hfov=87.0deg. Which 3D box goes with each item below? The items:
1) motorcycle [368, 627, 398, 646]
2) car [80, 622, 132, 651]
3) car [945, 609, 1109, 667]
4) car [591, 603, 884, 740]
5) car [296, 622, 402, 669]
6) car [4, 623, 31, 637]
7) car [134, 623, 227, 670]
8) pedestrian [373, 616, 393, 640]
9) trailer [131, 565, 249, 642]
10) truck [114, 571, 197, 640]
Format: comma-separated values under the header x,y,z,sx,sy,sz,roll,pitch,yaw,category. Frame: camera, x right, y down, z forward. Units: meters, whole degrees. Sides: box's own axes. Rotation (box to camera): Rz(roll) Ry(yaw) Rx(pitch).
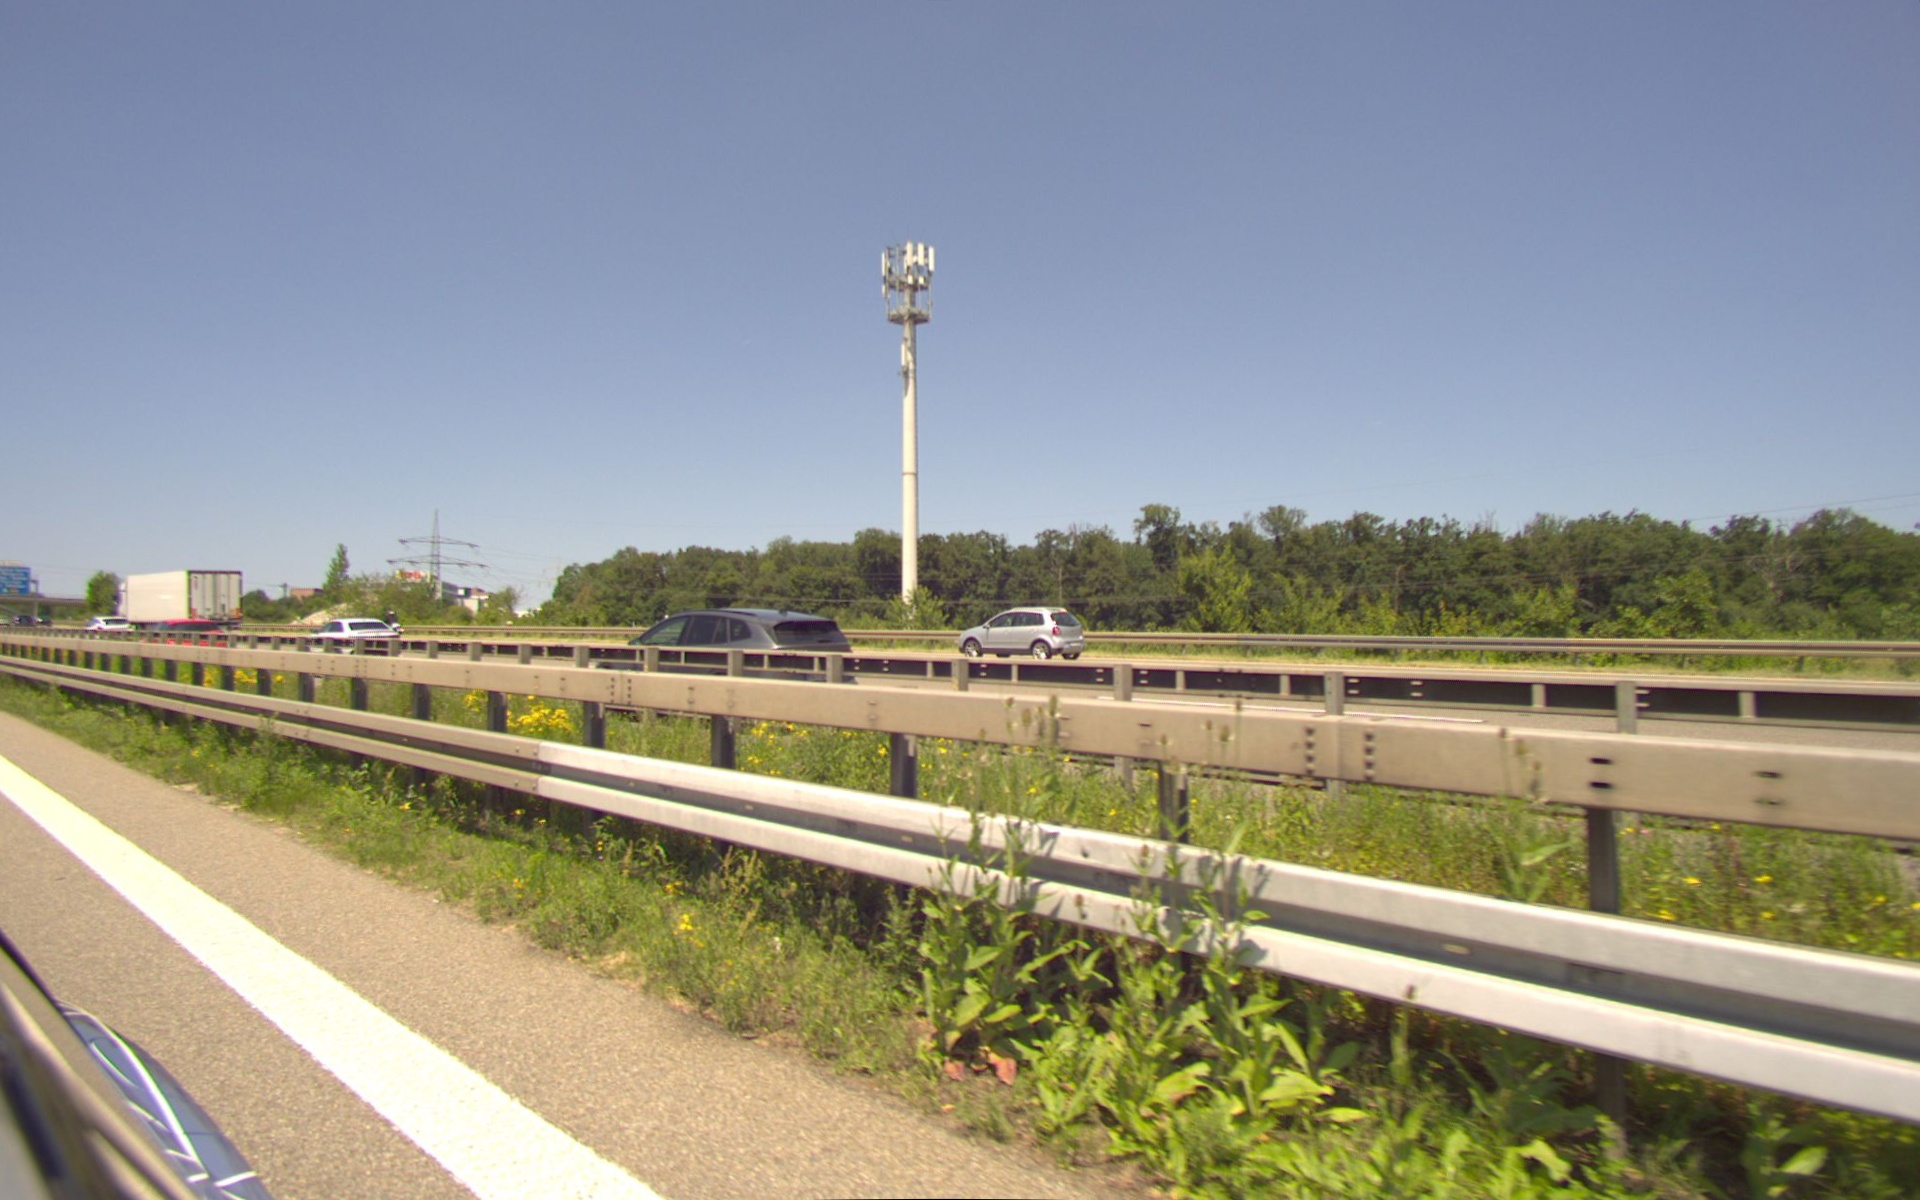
x,y,z,sx,sy,sz,roll,pitch,yaw,category
-31.746,1.978,55.687,2.486,1.023,0.651,-1,-1,40,motorcycle
-47.744,2.018,56.561,4.006,1.500,1.723,-1,-1,42,car
1.892,1.061,29.232,4.369,1.543,2.083,-1,-1,41,car
-3.190,0.873,14.010,4.358,1.627,1.658,-1,-1,40,car
-20.411,1.473,33.736,4.756,1.414,1.640,-1,-1,41,car
-113.997,3.577,122.419,3.995,1.626,1.860,-1,-1,38,car
-26.252,1.517,34.019,4.774,1.435,1.640,-1,-1,42,car
-31.737,1.544,55.687,1.034,1.326,0.644,-1,-1,40,pedestrian
-46.670,0.291,61.110,12.237,4.272,3.005,-1,-1,40,trailer
-52.556,0.424,66.053,6.680,4.272,3.004,-1,-1,40,truck
